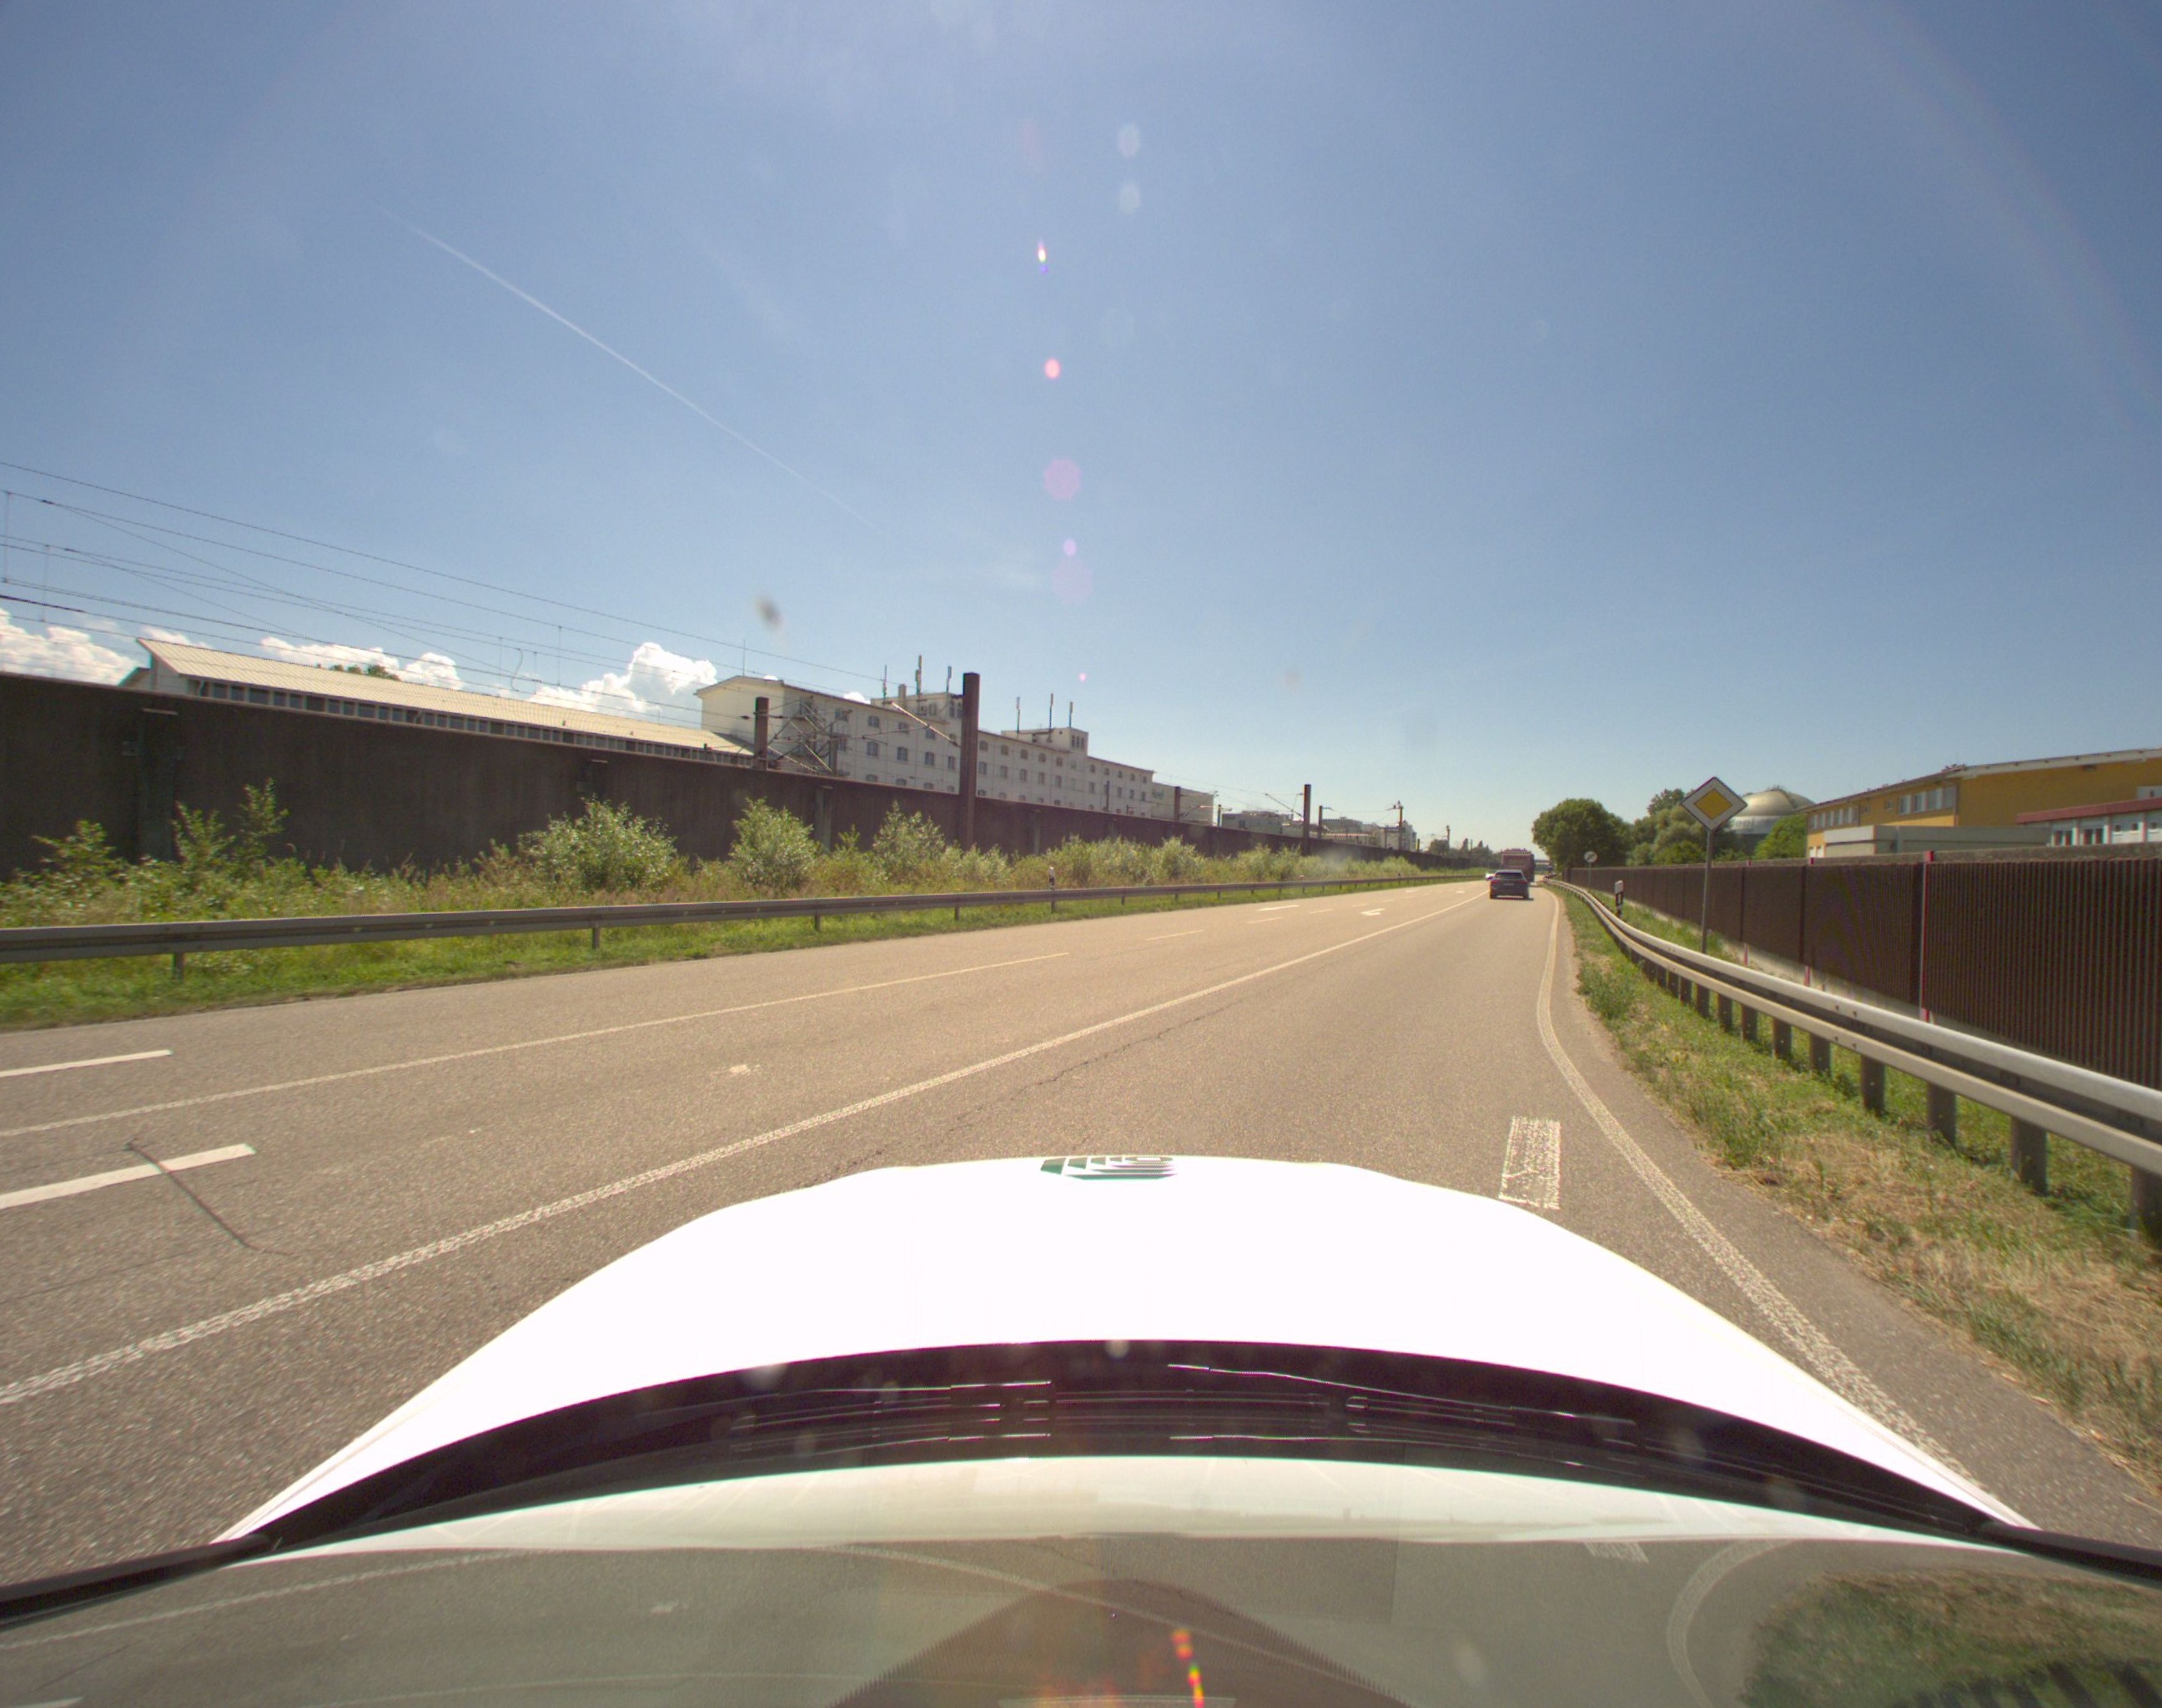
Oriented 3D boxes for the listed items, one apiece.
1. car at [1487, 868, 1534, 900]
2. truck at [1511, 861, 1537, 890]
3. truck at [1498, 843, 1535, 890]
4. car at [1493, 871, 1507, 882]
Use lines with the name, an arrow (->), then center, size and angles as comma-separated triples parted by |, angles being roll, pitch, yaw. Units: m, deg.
car -> 22.808, 1.615, 43.168 | 1.975, 1.503, 4.024 | 2, -2, 30
truck -> 61.325, 2.986, 112.634 | 2.967, 3.720, 10.622 | 1, -2, 30
truck -> 42.700, 1.311, 79.789 | 2.968, 4.181, 11.877 | 1, -2, 29
car -> 60.791, 3.206, 118.248 | 1.656, 1.502, 3.744 | 1, -1, 29
